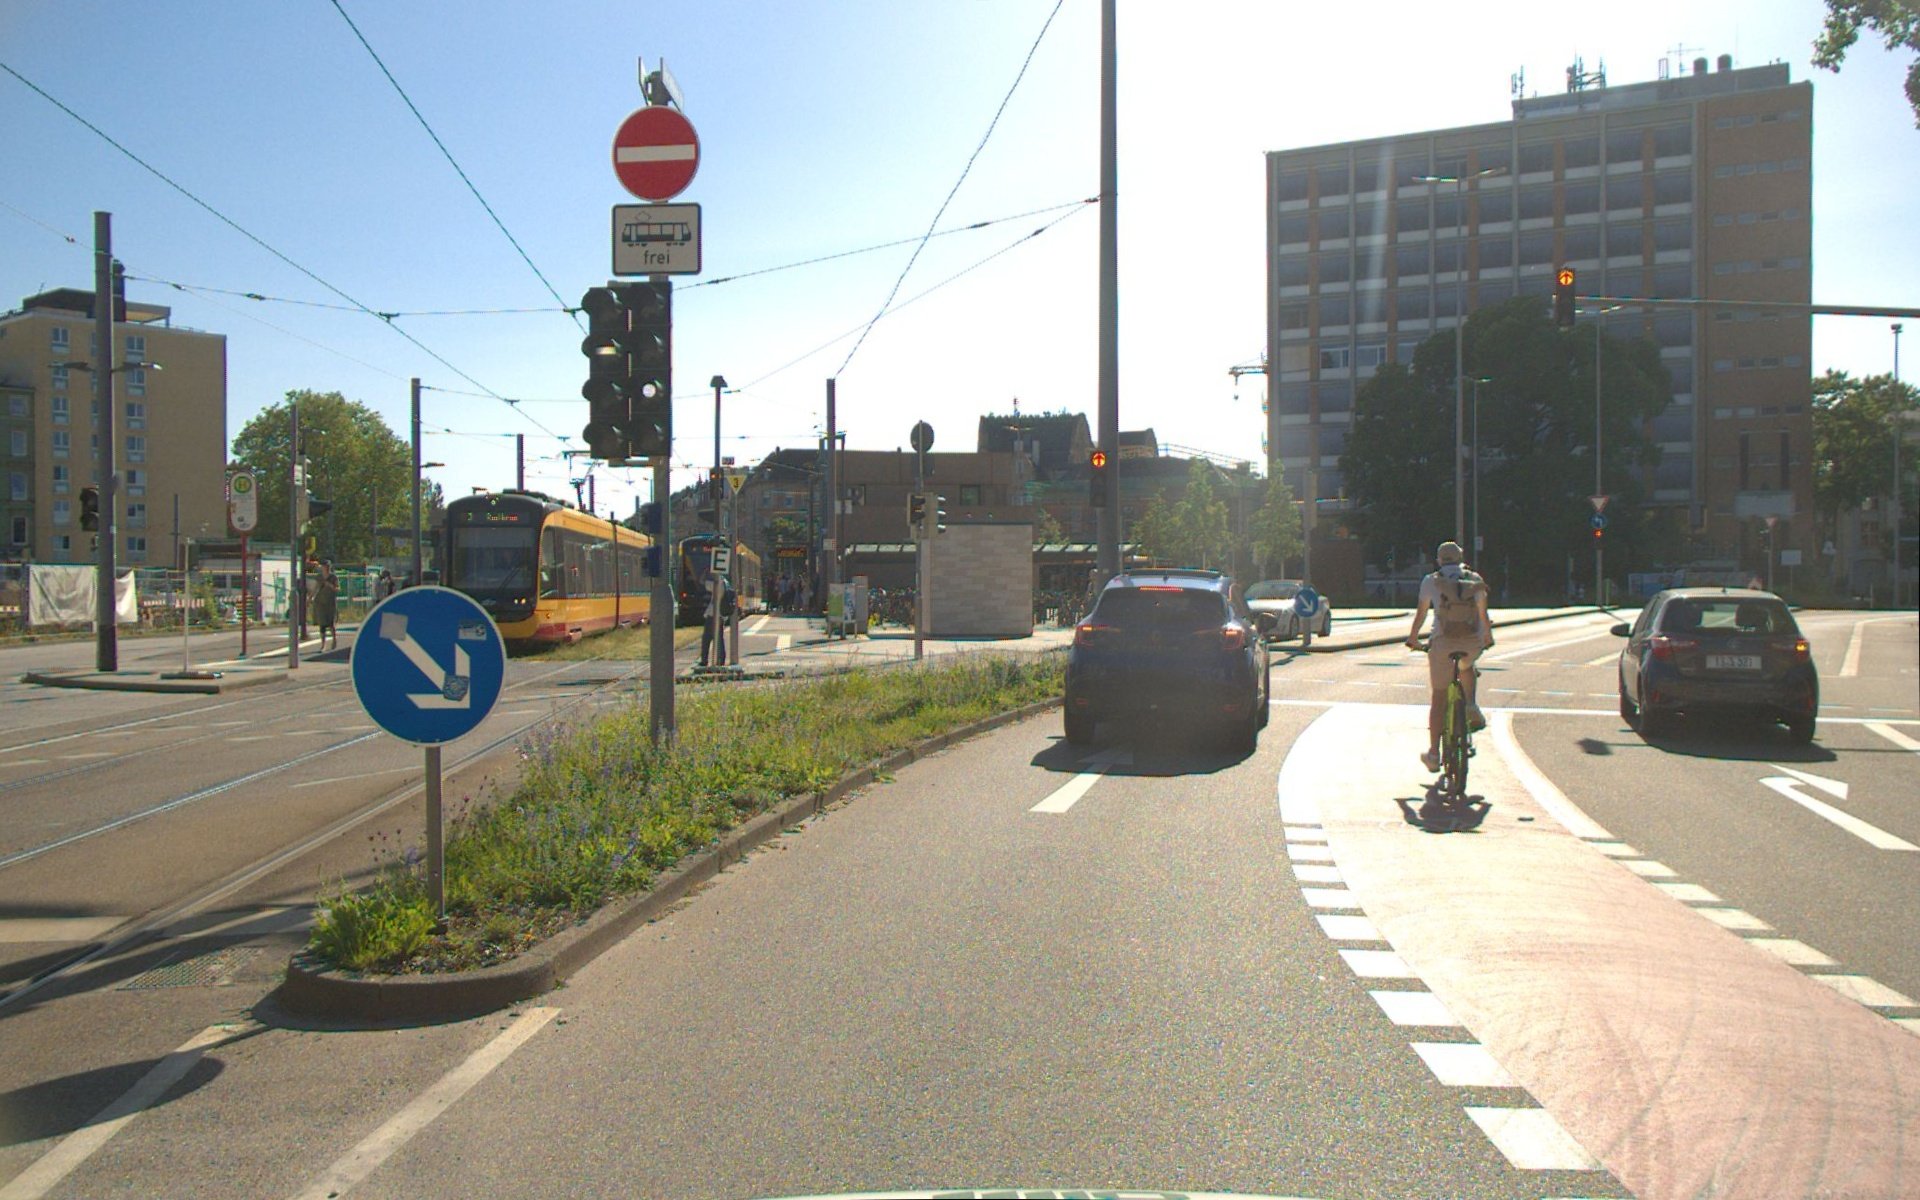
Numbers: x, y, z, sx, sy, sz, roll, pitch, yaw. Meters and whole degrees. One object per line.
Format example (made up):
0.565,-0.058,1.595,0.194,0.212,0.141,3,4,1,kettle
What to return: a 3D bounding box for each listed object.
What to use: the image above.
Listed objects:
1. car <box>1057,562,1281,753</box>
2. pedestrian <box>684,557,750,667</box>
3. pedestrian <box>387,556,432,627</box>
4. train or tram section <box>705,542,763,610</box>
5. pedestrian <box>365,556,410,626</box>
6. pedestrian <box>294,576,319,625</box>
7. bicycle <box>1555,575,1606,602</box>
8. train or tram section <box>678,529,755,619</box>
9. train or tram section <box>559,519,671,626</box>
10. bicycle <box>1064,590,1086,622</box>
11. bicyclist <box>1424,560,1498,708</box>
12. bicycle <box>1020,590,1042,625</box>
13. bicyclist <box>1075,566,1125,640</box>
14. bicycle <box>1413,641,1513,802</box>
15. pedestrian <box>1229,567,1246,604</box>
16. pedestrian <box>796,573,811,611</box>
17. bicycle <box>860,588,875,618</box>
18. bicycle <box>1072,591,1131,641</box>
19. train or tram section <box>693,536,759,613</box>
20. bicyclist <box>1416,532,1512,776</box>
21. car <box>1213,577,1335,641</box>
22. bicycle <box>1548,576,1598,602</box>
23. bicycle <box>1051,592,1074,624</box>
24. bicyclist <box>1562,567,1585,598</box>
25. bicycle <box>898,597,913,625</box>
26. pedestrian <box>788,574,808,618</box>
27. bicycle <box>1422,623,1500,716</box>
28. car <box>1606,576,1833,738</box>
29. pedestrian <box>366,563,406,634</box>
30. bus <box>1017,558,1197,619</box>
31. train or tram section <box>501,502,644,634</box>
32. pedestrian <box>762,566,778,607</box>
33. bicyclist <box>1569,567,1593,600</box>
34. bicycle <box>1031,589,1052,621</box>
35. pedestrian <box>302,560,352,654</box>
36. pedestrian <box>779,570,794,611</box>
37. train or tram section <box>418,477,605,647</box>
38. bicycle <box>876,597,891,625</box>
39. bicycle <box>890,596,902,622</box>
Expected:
2.166,0.477,16.321,1.784,1.627,3.662,1,1,13,car
-4.197,0.214,28.548,1.000,1.864,0.757,1,-1,-16,pedestrian
-16.158,-0.231,48.543,0.941,2.049,0.999,1,-1,1,pedestrian
-12.503,-1.329,92.143,2.816,3.569,10.530,0,1,-6,train or tram section
-17.065,-0.274,49.338,0.941,2.049,0.999,1,-1,1,pedestrian
-24.124,0.022,61.037,0.655,1.798,0.799,-1,0,-7,pedestrian
37.280,-0.711,99.329,2.752,1.568,0.881,1,-1,33,bicycle
-10.345,-1.075,71.044,2.816,3.569,10.530,0,0,-6,train or tram section
-12.611,-0.975,61.388,2.762,3.569,11.198,1,0,-5,train or tram section
4.067,0.206,58.578,0.568,1.107,2.058,1,-1,-1,bicycle
5.822,0.370,19.197,0.707,1.654,1.055,1,1,22,bicyclist
2.248,0.240,52.660,0.568,1.076,1.816,1,-1,-1,bicycle
3.203,0.070,37.817,0.862,1.673,1.060,-1,0,22,bicyclist
3.834,0.885,12.703,0.648,1.065,1.892,0,1,14,bicycle
14.506,-0.766,86.447,0.711,1.889,0.702,1,-1,-3,pedestrian
-7.684,-0.392,81.287,0.660,1.889,0.703,1,-1,-1,pedestrian
-3.515,0.105,63.113,0.554,1.112,2.028,1,-1,-3,bicycle
3.241,0.359,37.752,0.757,1.099,2.035,-1,0,22,bicycle
-11.446,-1.209,81.589,2.816,3.569,10.530,0,0,-6,train or tram section
3.812,0.385,12.572,0.649,1.778,1.006,0,0,15,bicyclist
7.496,0.180,39.230,1.765,1.417,4.088,0,0,27,car
37.434,-0.694,100.995,2.752,1.568,0.881,1,-1,33,bicycle
3.286,0.259,52.895,0.568,0.978,2.058,1,-1,-1,bicycle
37.441,-1.059,100.992,1.136,1.829,0.882,0,-1,33,bicyclist
-1.928,0.394,58.594,0.413,0.954,1.304,1,0,-7,bicycle
-7.180,-0.188,73.083,0.831,1.916,0.759,1,-1,-8,pedestrian
5.880,0.784,19.370,0.708,0.976,1.884,1,1,21,bicycle
8.182,0.534,18.116,1.719,1.568,3.661,1,1,16,car
-14.861,-0.050,42.825,0.852,1.798,0.965,-1,0,-27,pedestrian
8.666,-0.691,99.783,2.858,3.455,12.256,2,-1,-42,bus
-11.601,-0.912,50.542,2.762,3.569,10.600,1,0,-5,train or tram section
-9.149,-0.641,79.784,0.726,1.951,0.741,1,1,-6,pedestrian
37.287,-1.005,99.316,1.185,1.930,0.882,0,-1,33,bicyclist
2.885,0.187,58.669,0.568,1.107,2.058,1,-1,-1,bicycle
-13.058,0.126,34.126,0.747,1.882,0.901,0,3,-8,pedestrian
-8.063,-0.438,76.700,0.621,1.889,0.701,1,-1,-11,pedestrian
-10.546,-0.854,39.994,2.763,3.569,10.464,-1,1,-6,train or tram section
-2.691,0.380,58.363,0.413,0.954,1.304,1,0,-7,bicycle
-2.465,0.351,63.406,0.413,0.954,1.378,1,0,-3,bicycle
